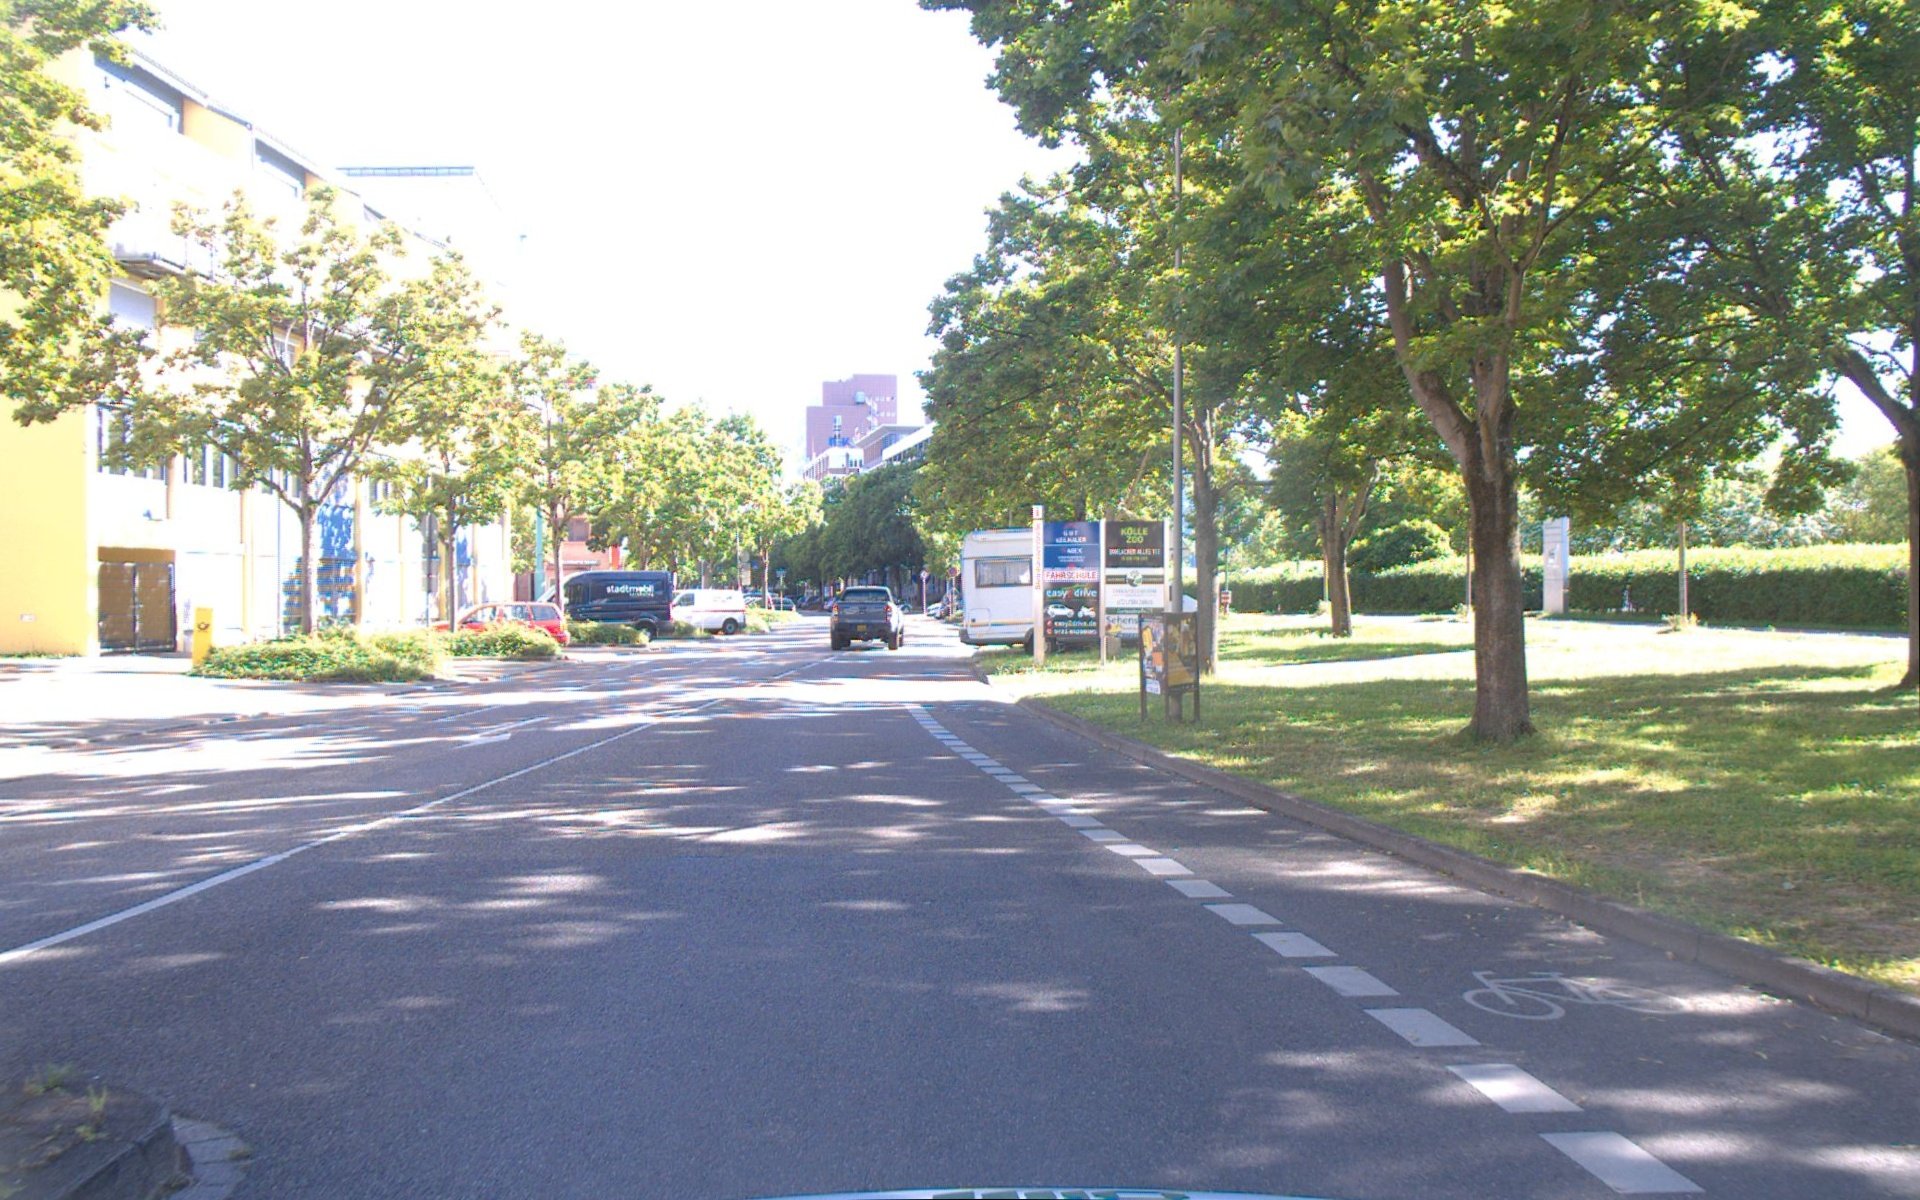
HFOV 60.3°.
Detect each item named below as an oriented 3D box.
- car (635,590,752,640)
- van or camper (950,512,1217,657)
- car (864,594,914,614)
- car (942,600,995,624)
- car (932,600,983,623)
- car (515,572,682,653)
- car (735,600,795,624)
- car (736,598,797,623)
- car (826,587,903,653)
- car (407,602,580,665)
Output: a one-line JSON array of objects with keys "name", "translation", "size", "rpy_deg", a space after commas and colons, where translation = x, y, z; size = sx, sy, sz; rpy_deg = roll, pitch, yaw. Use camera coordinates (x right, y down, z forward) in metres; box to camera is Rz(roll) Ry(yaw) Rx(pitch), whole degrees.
[{"name": "car", "translation": [-11.935, 0.635, 74.218], "size": [4.843, 2.119, 1.961], "rpy_deg": [-1, 0, -35]}, {"name": "van or camper", "translation": [2.811, -0.358, 38.982], "size": [5.956, 2.979, 2.575], "rpy_deg": [-3, 0, -1]}, {"name": "car", "translation": [-5.874, 0.316, 136.490], "size": [3.874, 1.421, 1.513], "rpy_deg": [-3, 0, -9]}, {"name": "car", "translation": [0.491, 0.731, 102.110], "size": [3.178, 1.299, 1.516], "rpy_deg": [-3, 0, -1]}, {"name": "car", "translation": [-0.164, 0.718, 106.301], "size": [3.178, 1.299, 1.516], "rpy_deg": [-3, 0, -1]}, {"name": "car", "translation": [-12.234, 0.396, 56.038], "size": [5.195, 2.590, 1.970], "rpy_deg": [-1, 0, -25]}, {"name": "car", "translation": [-12.741, 0.785, 108.088], "size": [3.812, 1.389, 1.407], "rpy_deg": [-3, 0, -9]}, {"name": "car", "translation": [-12.447, 0.674, 106.340], "size": [3.812, 1.389, 1.407], "rpy_deg": [-3, 0, -9]}, {"name": "car", "translation": [-2.821, 0.555, 49.793], "size": [2.090, 1.867, 4.939], "rpy_deg": [-1, 1, -1]}, {"name": "car", "translation": [-12.781, 0.894, 45.314], "size": [4.351, 1.579, 1.907], "rpy_deg": [-1, 0, -25]}]
